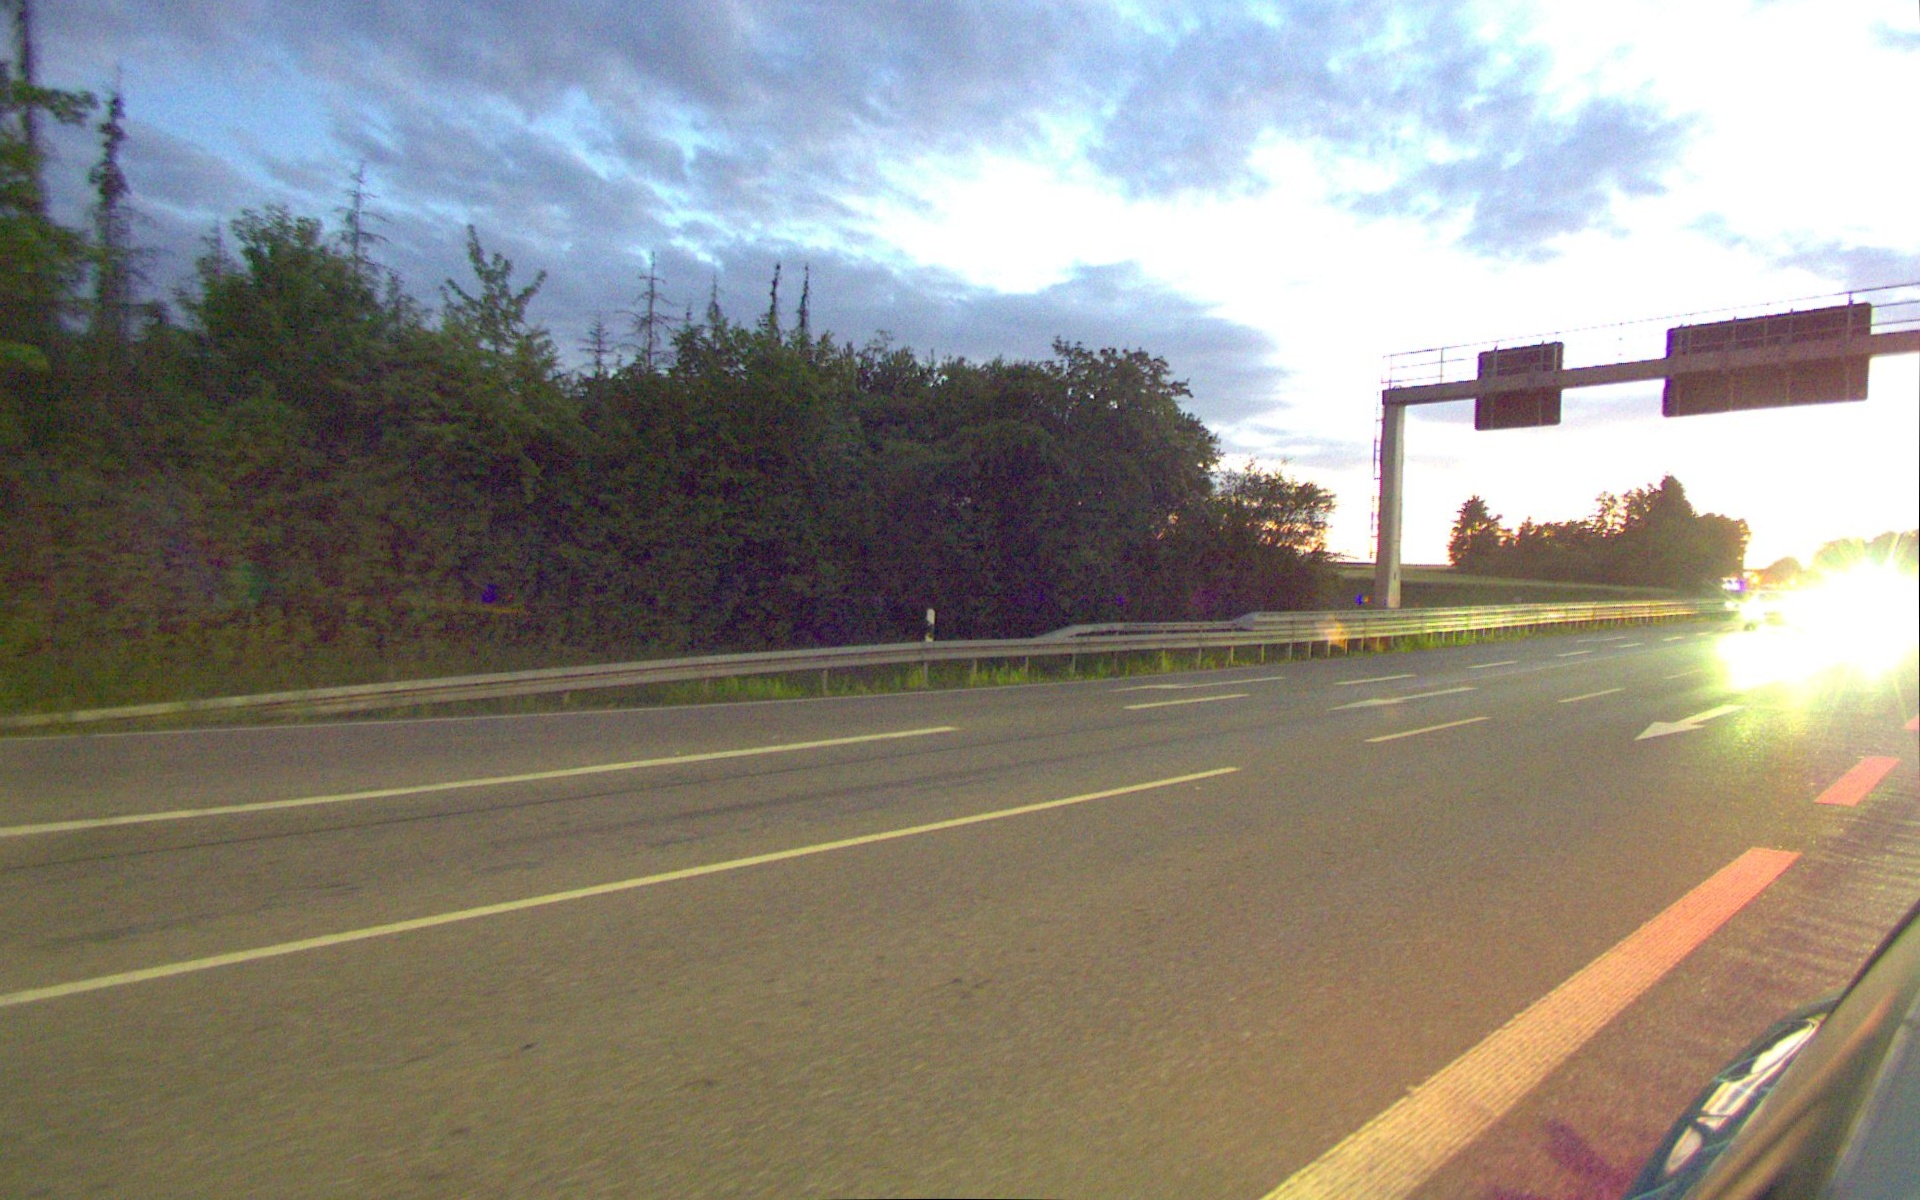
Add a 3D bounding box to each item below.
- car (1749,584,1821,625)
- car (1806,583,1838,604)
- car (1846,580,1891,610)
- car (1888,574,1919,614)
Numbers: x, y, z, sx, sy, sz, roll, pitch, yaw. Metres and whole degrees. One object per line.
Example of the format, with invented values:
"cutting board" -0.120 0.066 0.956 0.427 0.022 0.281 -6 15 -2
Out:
"car" 34.015 0.158 41.692 1.993 1.604 3.937 -1 0 44
"car" 69.929 -0.511 82.124 1.848 1.642 3.943 1 0 39
"car" 55.781 -0.309 62.192 1.824 1.772 3.796 -1 -1 39
"car" 49.501 -0.324 52.561 1.857 2.039 3.938 -1 0 43
